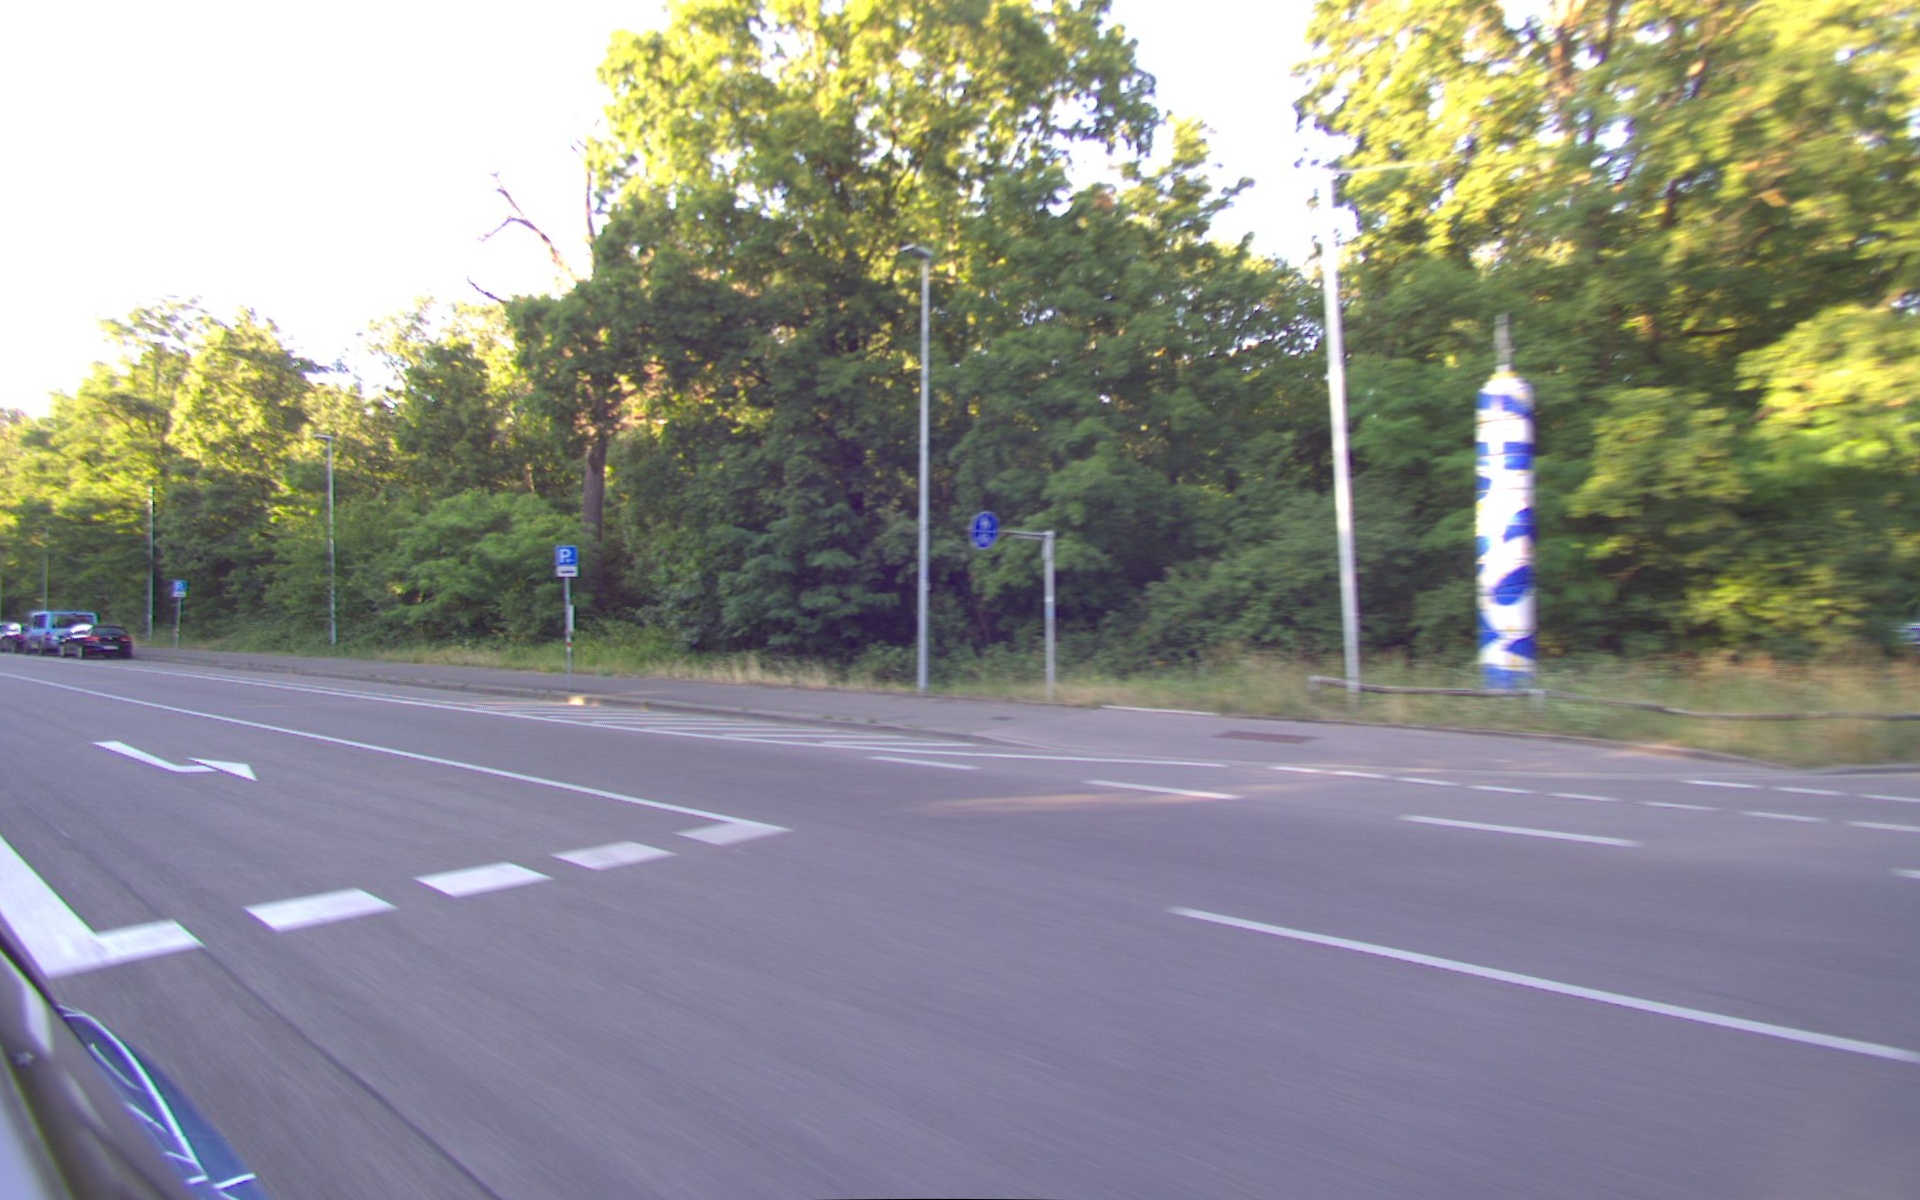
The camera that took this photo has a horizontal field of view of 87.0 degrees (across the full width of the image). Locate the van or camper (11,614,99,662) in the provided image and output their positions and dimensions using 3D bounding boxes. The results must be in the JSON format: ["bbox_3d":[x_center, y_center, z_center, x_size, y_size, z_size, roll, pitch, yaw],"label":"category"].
[{"bbox_3d":[-41.925,1.751,46.852,5.005,2.110,2.013,-1,-3,37],"label":"van or camper"}]

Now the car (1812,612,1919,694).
[{"bbox_3d":[21.730,1.173,22.895,3.672,1.797,1.725,-1,-2,43],"label":"car"}]

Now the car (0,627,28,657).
[{"bbox_3d":[-50.531,2.182,53.100,4.031,1.546,1.602,-1,-3,36],"label":"car"}]

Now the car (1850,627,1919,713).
[{"bbox_3d":[17.650,1.211,17.508,3.343,1.463,1.725,-1,-2,43],"label":"car"}]

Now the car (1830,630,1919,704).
[{"bbox_3d":[19.961,1.352,20.602,3.343,1.463,1.725,-1,-2,43],"label":"car"}]

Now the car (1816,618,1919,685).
[{"bbox_3d":[24.836,1.332,26.495,3.671,1.699,1.726,-1,-2,41],"label":"car"}]

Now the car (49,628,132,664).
[{"bbox_3d":[-37.293,1.967,43.375,4.234,1.473,1.672,-1,-3,35],"label":"car"}]

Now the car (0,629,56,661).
[{"bbox_3d":[-46.323,2.200,49.983,3.962,1.505,1.529,-1,-3,35],"label":"car"}]
